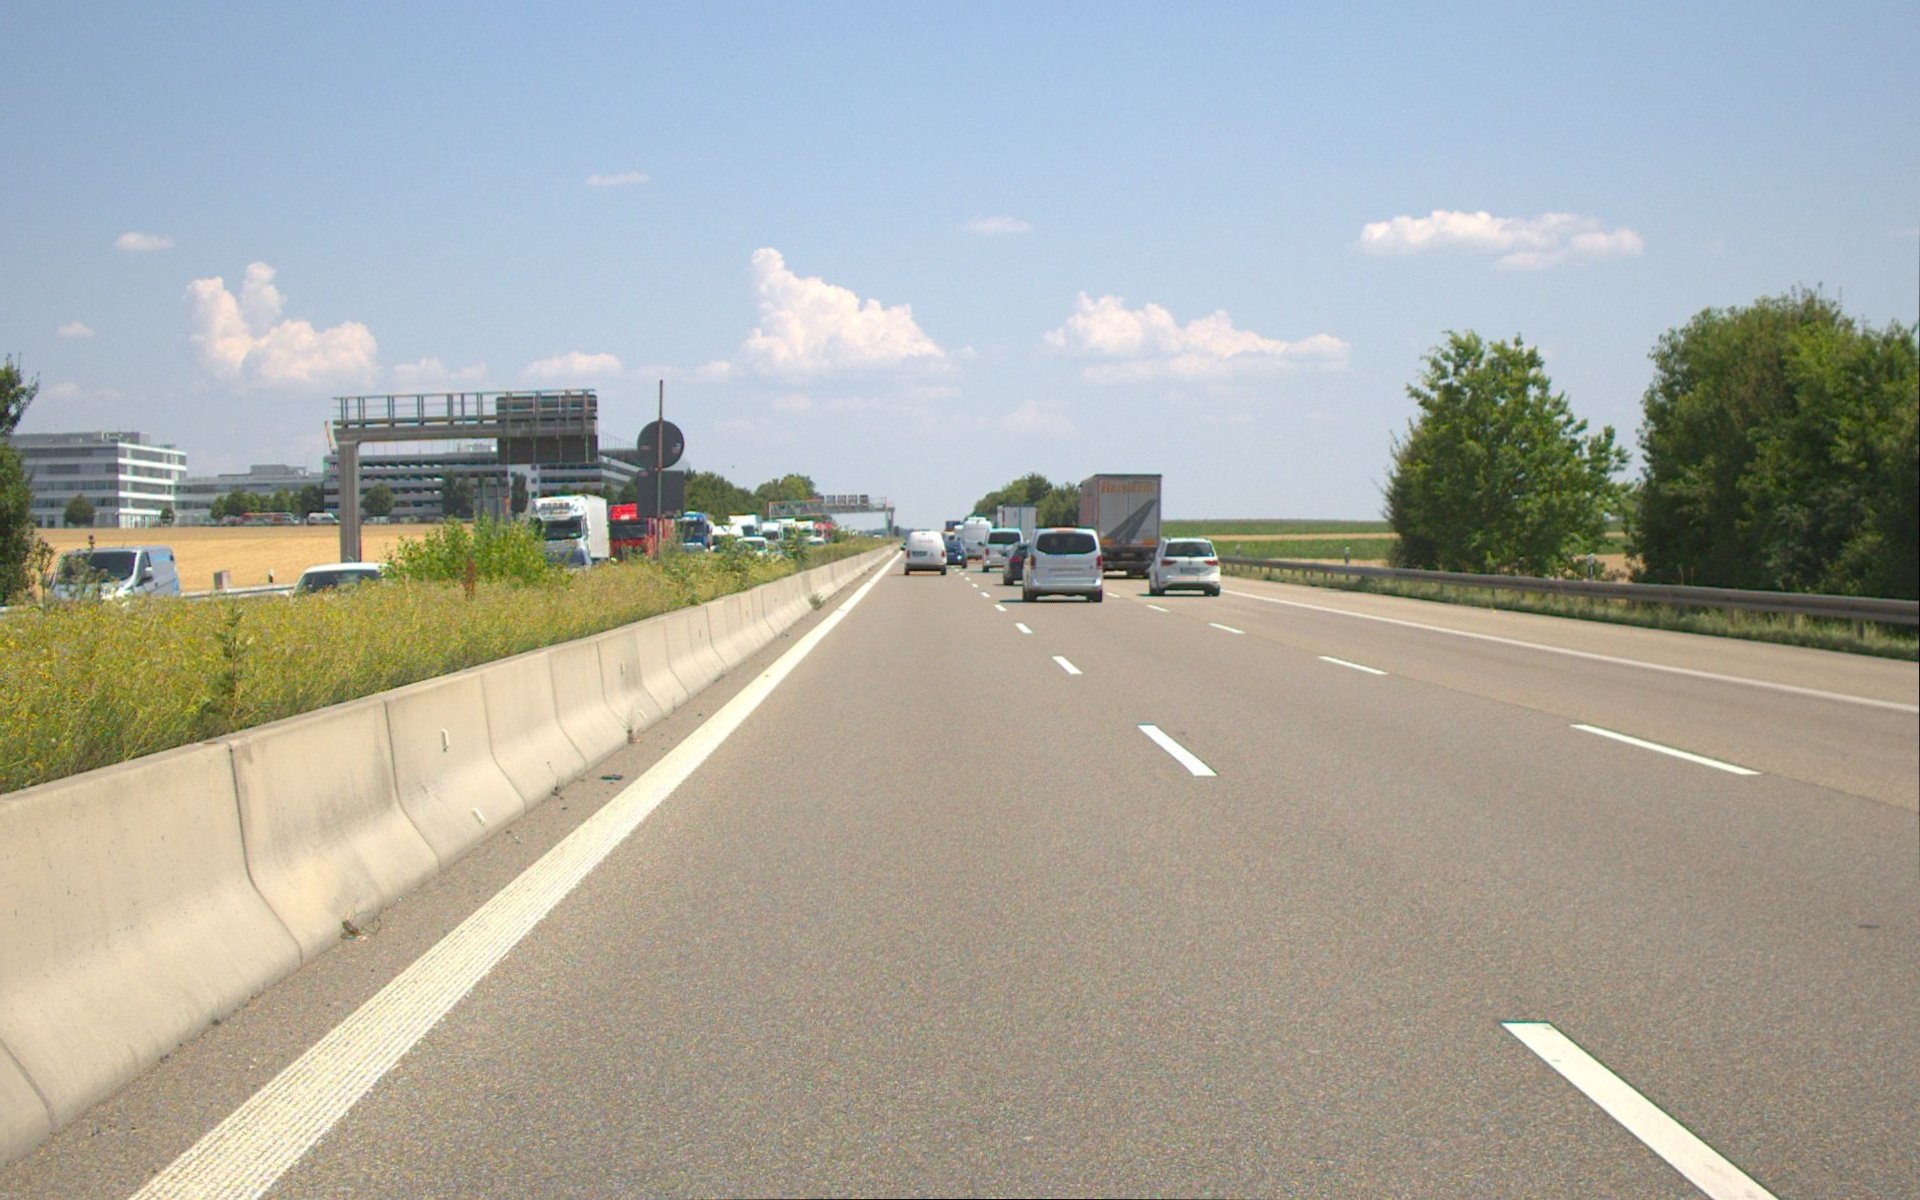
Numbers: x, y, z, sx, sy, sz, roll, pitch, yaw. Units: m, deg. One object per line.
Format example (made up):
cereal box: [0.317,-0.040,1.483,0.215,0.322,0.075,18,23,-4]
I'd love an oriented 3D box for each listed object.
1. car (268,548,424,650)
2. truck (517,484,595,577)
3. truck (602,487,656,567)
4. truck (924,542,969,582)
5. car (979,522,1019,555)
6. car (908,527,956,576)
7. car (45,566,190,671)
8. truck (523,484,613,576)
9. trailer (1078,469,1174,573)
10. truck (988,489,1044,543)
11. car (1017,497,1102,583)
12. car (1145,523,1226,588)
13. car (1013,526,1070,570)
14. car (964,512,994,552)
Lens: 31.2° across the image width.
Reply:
car: [-9.019,-0.043,50.725,1.694,1.412,3.816,-1,1,-1]
truck: [-18.765,-3.238,159.901,2.950,4.143,5.472,-2,1,-1]
truck: [-19.430,-4.295,201.983,2.776,4.582,4.724,-1,1,-1]
truck: [-0.703,-1.981,177.894,2.211,2.007,4.972,-1,1,-1]
car: [1.789,-2.819,157.996,1.773,1.442,4.000,0,0,-1]
car: [-1.170,-2.011,144.666,1.993,2.007,4.000,0,0,-1]
car: [-17.144,0.338,70.146,1.761,1.946,5.119,-2,1,-2]
truck: [-18.877,-3.380,166.174,2.950,4.143,12.868,-2,1,-1]
trailer: [6.523,-3.070,136.712,3.277,3.953,9.113,0,0,-1]
truck: [4.204,-6.325,259.879,3.815,3.891,9.581,-1,1,-1]
car: [2.499,-1.493,86.988,1.993,2.112,4.000,0,0,-1]
car: [6.359,-1.253,97.333,1.993,1.788,4.000,0,0,-1]
car: [2.722,-1.737,115.725,1.773,1.442,4.000,0,0,-1]
car: [1.132,-4.171,211.354,1.773,2.384,4.000,0,0,-1]
